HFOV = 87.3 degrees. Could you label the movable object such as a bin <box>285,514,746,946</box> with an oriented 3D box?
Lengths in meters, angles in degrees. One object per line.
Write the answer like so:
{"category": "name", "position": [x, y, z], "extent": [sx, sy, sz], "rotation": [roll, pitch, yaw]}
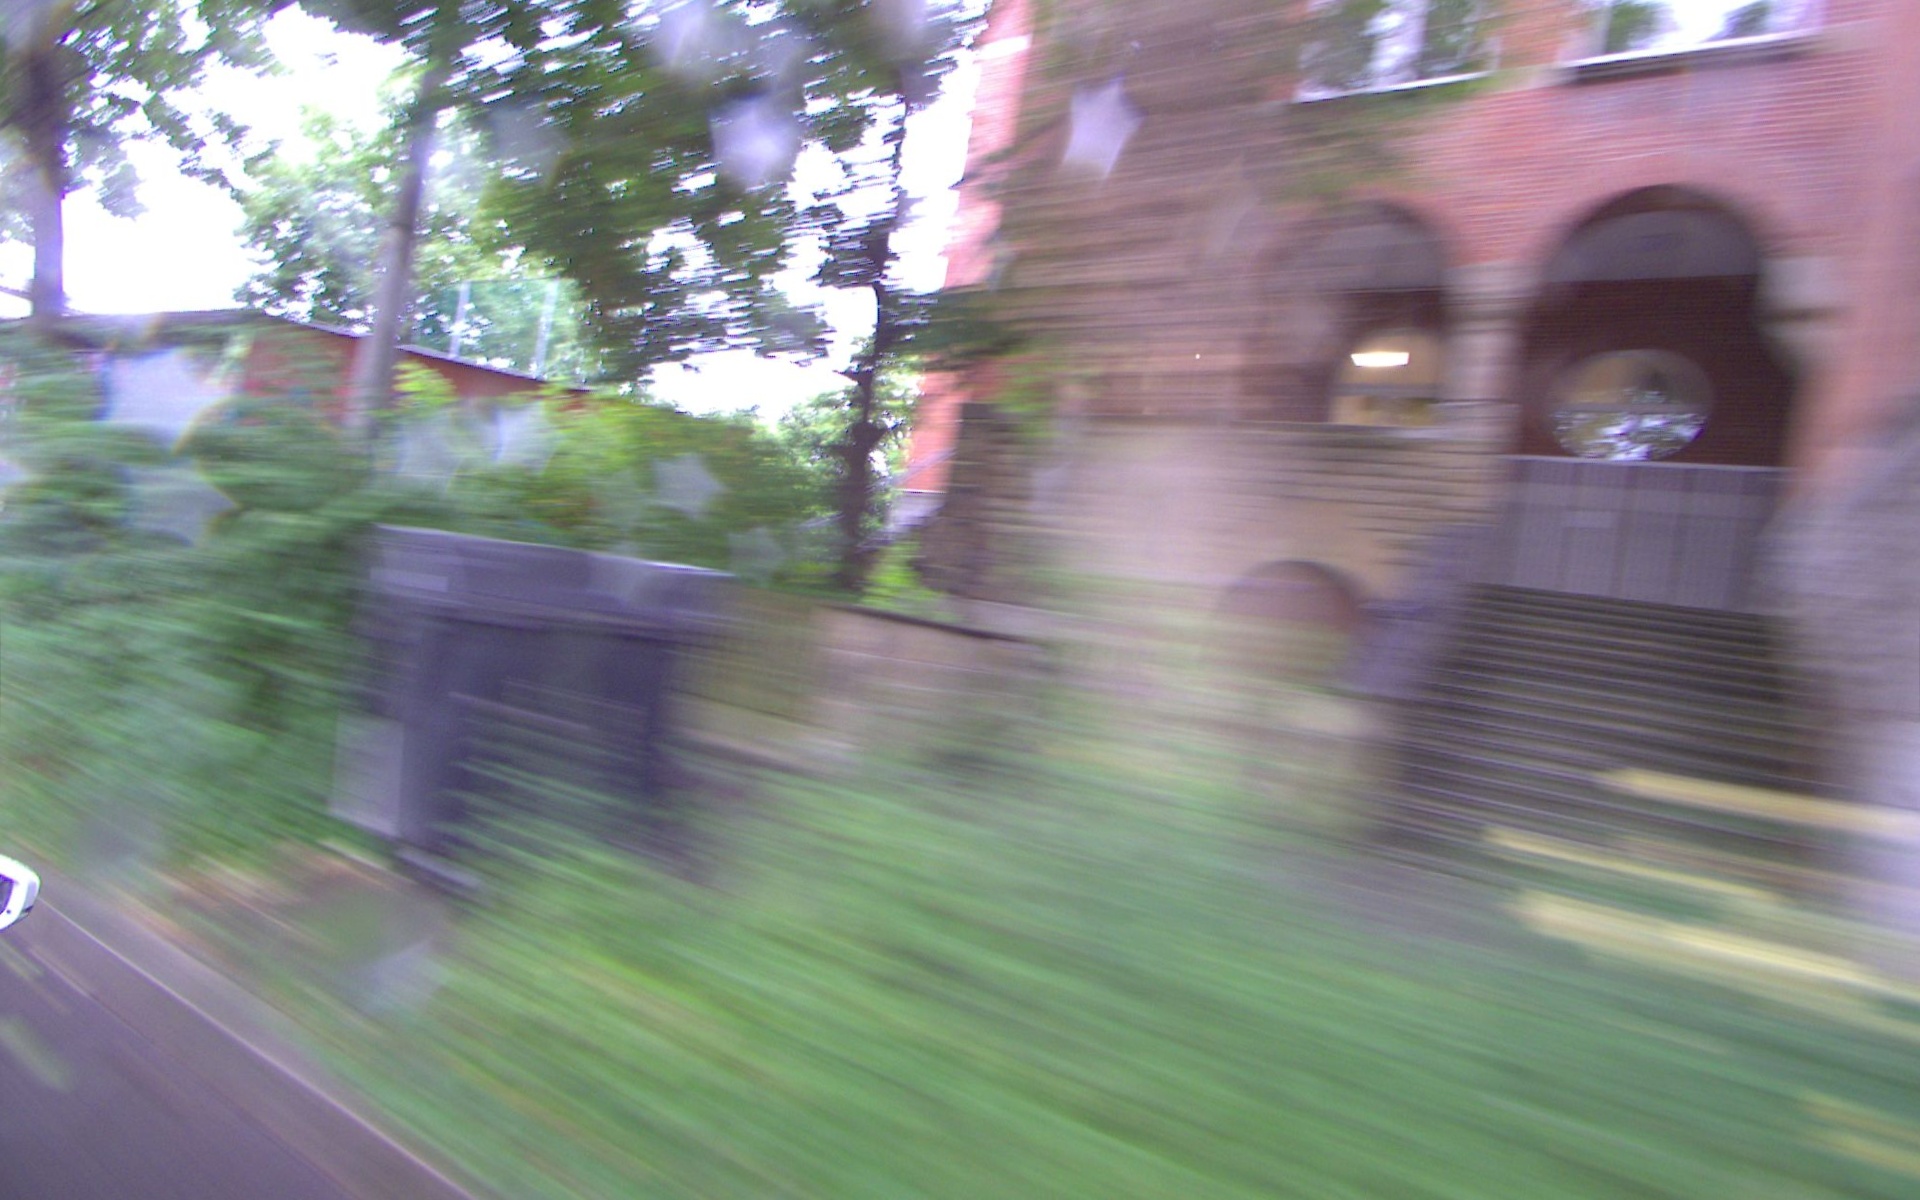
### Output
{"category": "movable object such as a bin", "position": [-1.917, 0.474, 4.352], "extent": [1.396, 1.471, 1.202], "rotation": [7, 0, -43]}
